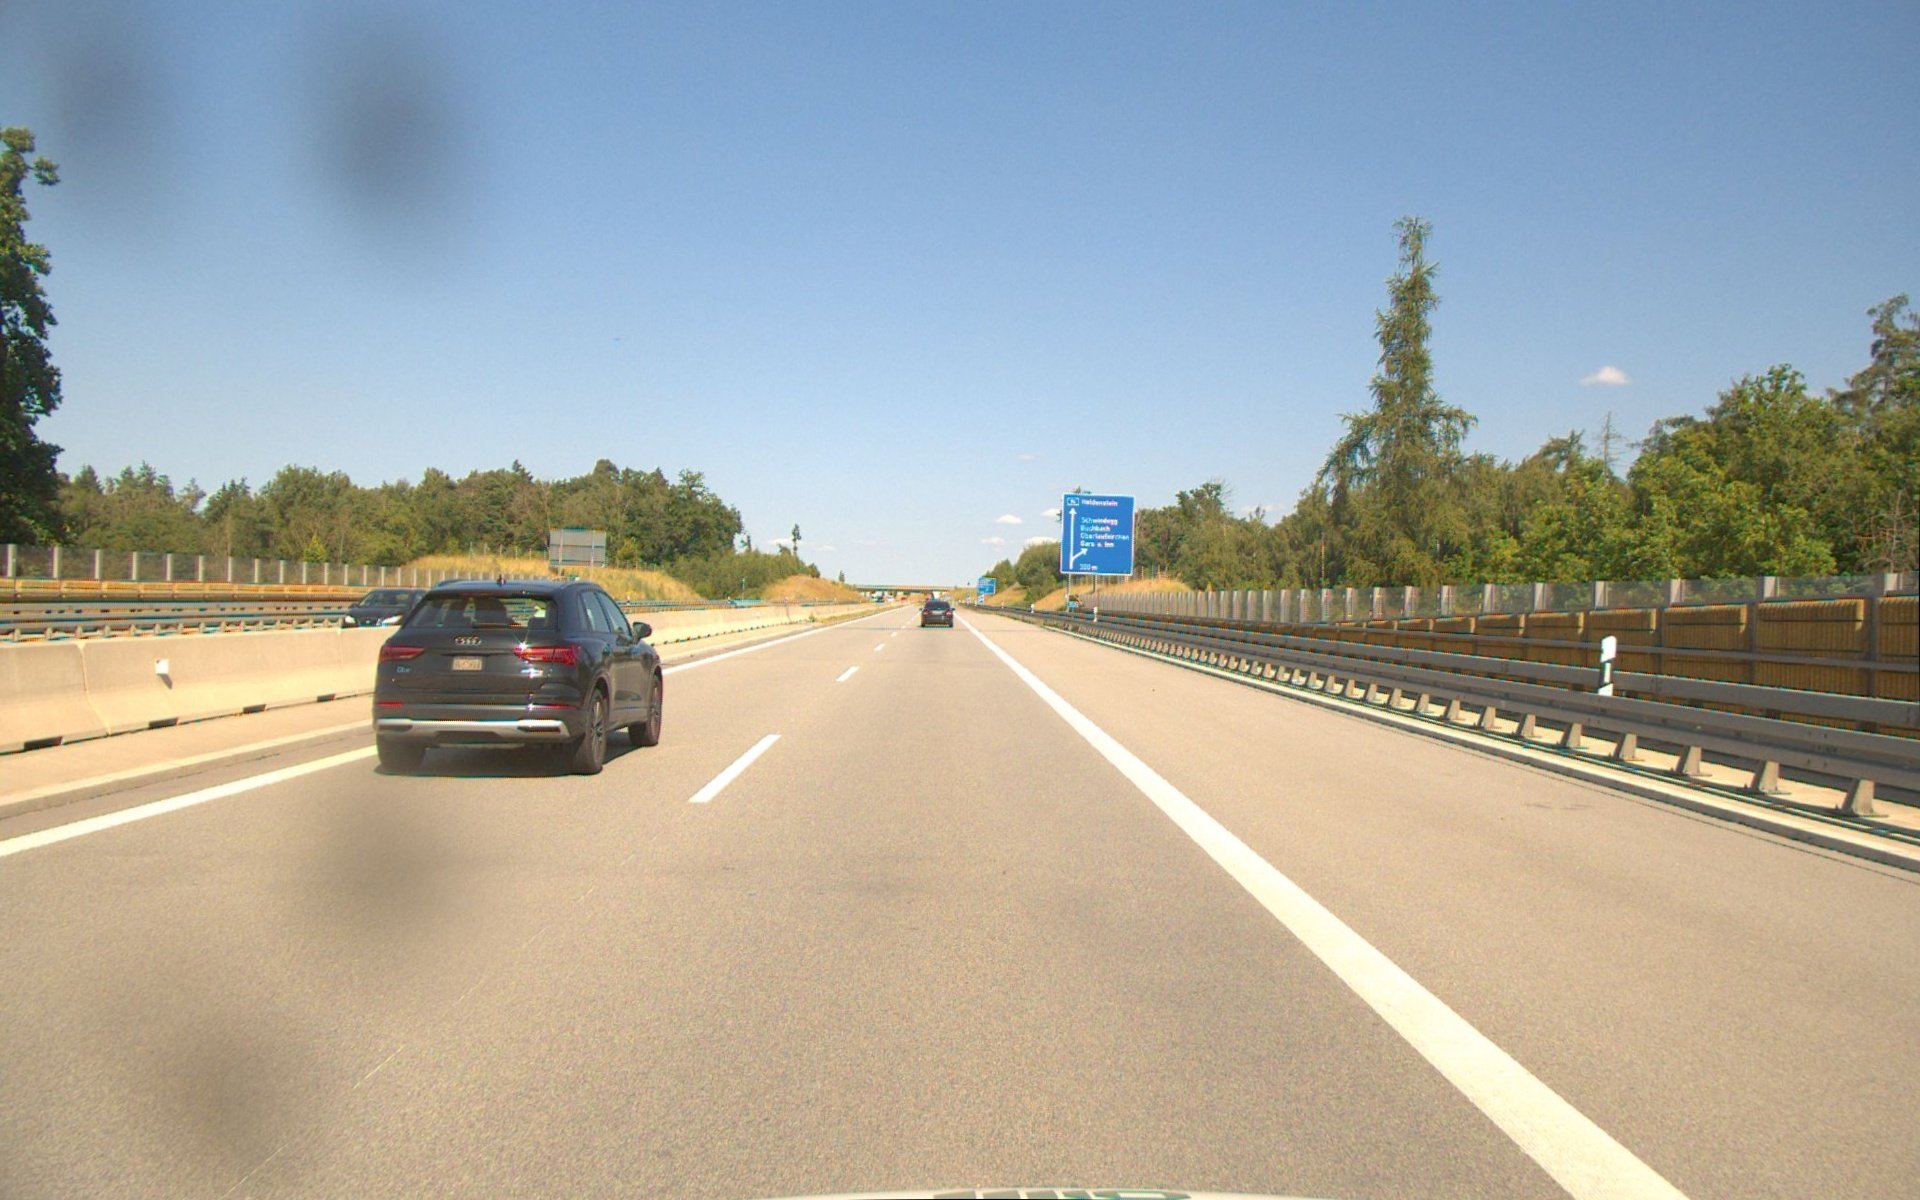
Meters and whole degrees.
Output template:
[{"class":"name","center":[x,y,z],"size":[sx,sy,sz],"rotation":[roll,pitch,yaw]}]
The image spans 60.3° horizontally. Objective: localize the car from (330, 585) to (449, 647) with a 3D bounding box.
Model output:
[{"class":"car","center":[-14.471,0.377,42.153],"size":[1.547,1.483,4.449],"rotation":[1,0,-1]}]

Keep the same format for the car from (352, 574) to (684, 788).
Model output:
[{"class":"car","center":[-3.833,0.617,15.321],"size":[1.687,1.615,5.221],"rotation":[1,0,-1]}]

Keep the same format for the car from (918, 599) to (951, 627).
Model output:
[{"class":"car","center":[-1.366,0.696,89.057],"size":[1.753,1.398,3.916],"rotation":[1,0,-1]}]

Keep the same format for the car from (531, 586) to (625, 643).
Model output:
[{"class":"car","center":[-10.898,0.399,47.475],"size":[1.692,1.529,4.623],"rotation":[1,0,-1]}]
